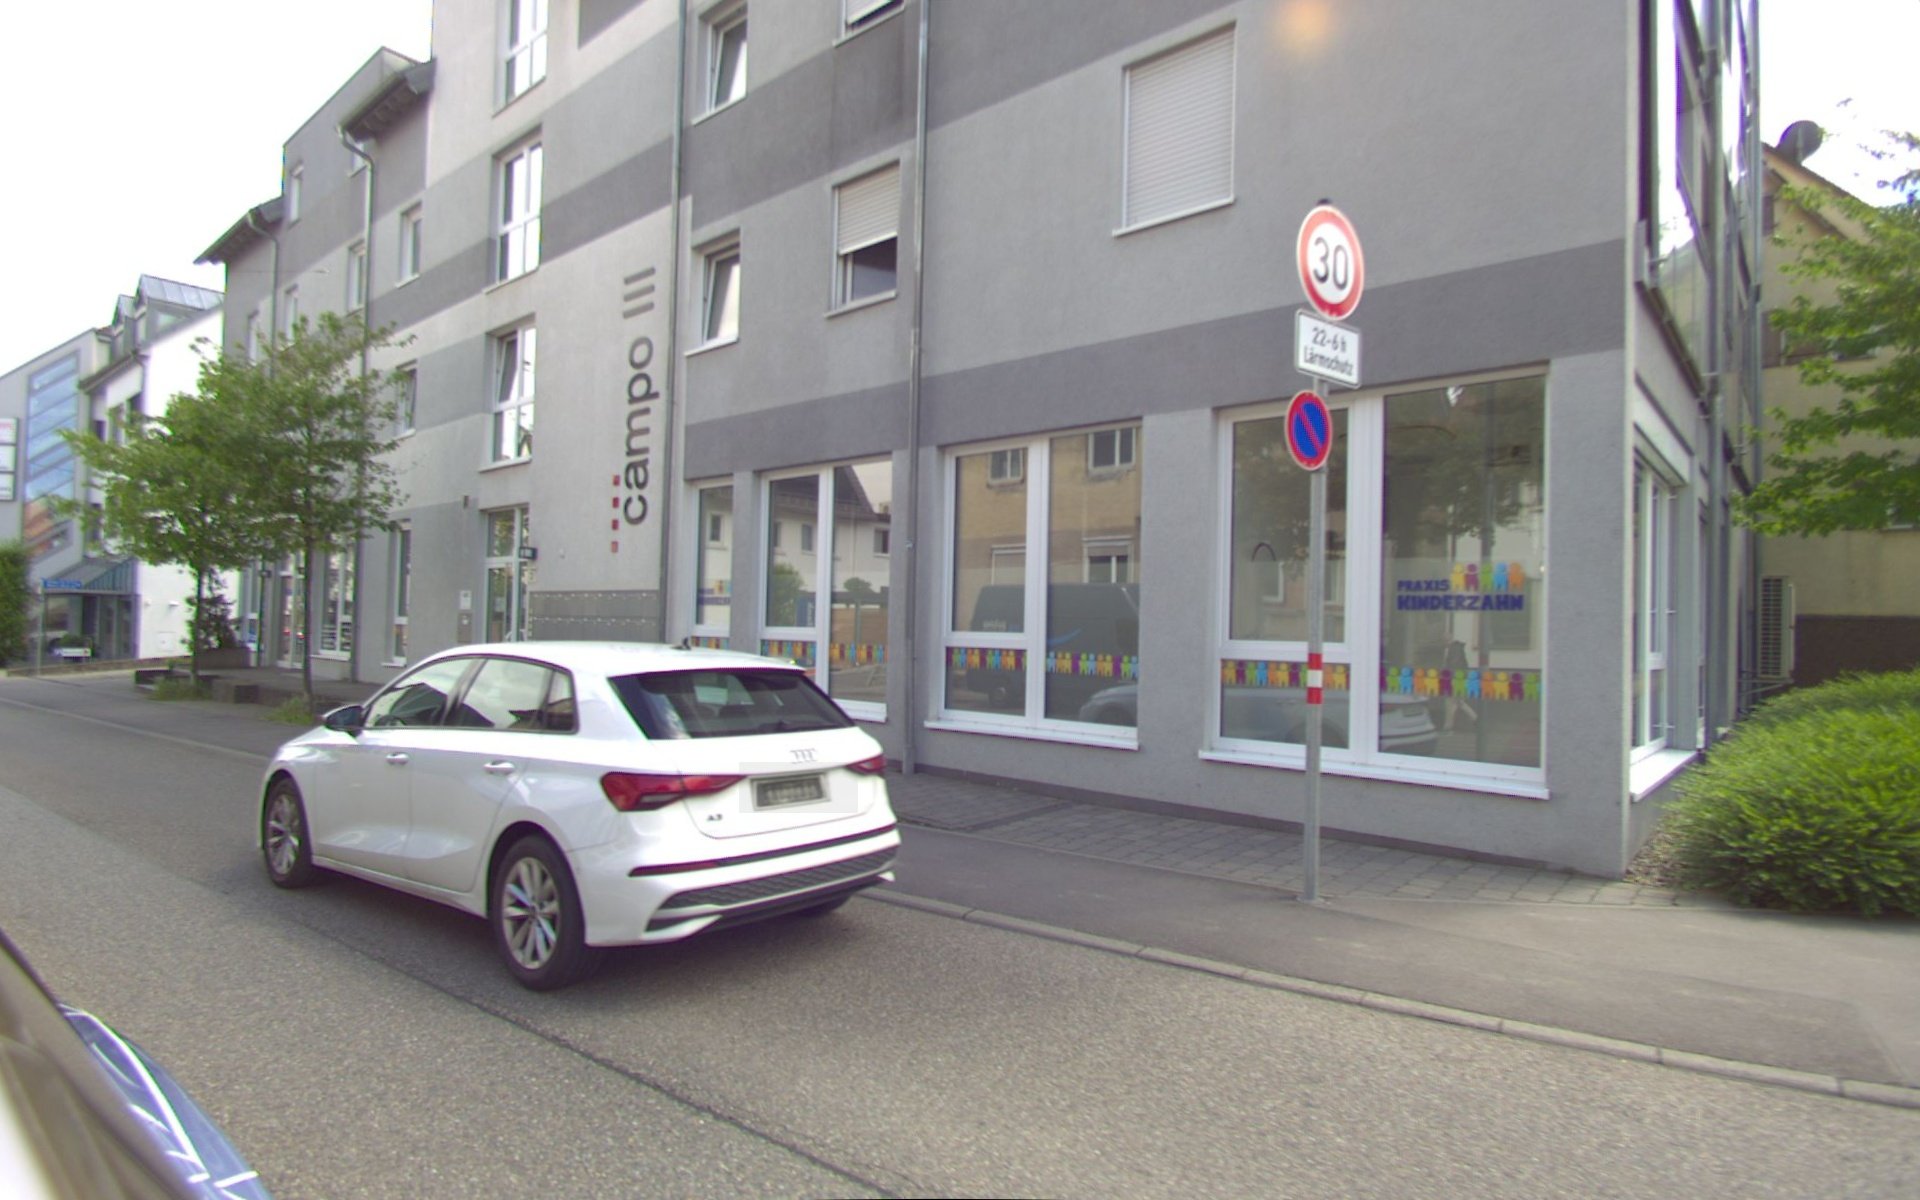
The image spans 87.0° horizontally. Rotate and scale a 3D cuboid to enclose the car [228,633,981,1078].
[{"bbox_3d":[-2.079,0.914,5.377,4.109,1.435,1.856,-1,-2,38],"label":"car"}]
